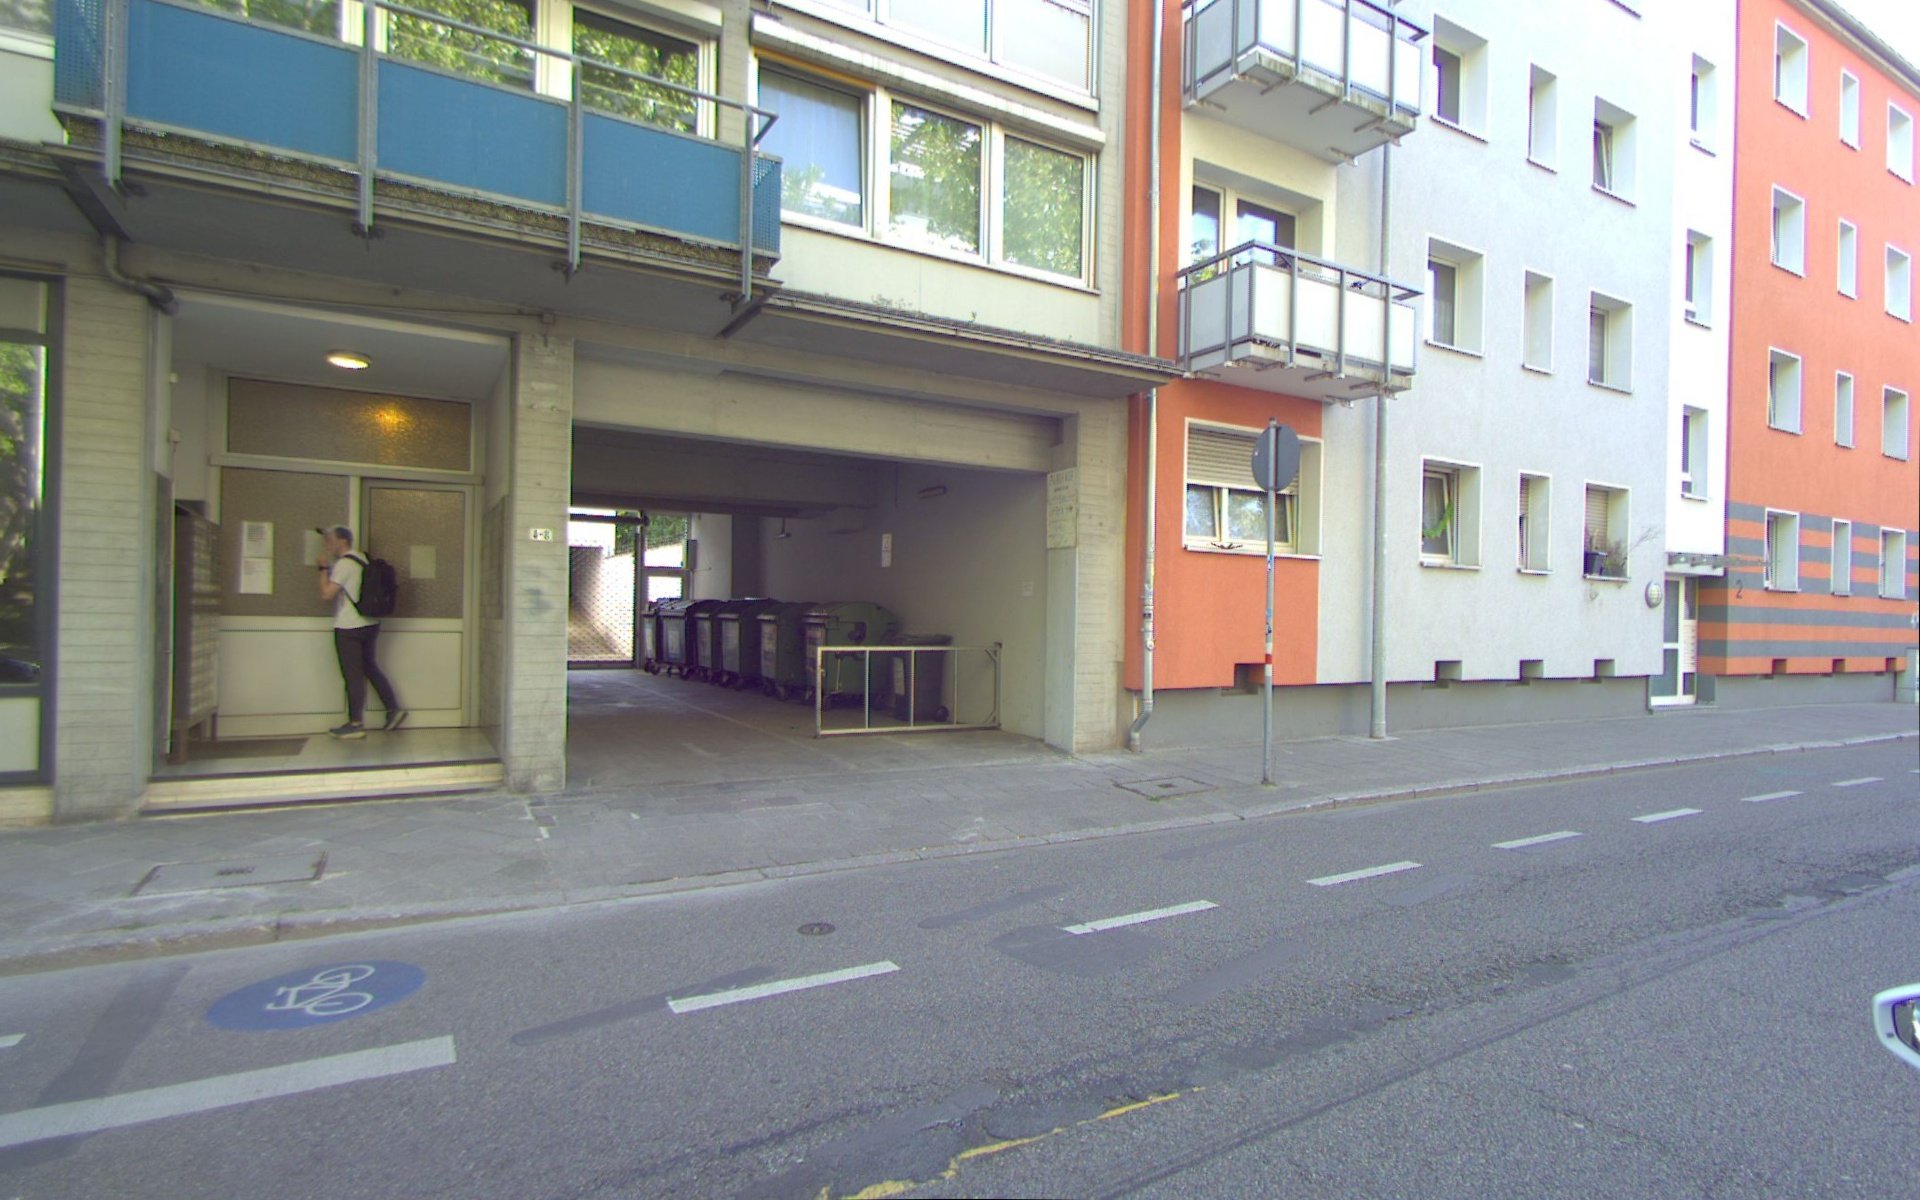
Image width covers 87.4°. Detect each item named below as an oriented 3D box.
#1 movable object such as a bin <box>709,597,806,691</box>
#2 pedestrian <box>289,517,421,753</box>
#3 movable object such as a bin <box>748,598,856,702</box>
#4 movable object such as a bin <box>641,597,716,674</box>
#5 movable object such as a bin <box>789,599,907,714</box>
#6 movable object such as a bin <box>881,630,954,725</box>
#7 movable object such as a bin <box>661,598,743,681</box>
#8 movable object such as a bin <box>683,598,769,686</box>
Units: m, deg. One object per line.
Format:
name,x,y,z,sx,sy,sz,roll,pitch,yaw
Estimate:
movable object such as a bin,-3.360,0.702,16.623,1.186,1.467,1.319,2,0,-30
pedestrian,-5.172,0.288,8.597,0.573,1.904,0.783,2,0,40
movable object such as a bin,-2.393,0.724,15.139,1.186,1.467,1.319,2,0,-30
movable object such as a bin,-5.606,0.689,19.986,1.186,1.467,1.027,2,0,-30
movable object such as a bin,-1.553,0.743,13.805,1.159,1.467,1.319,2,0,-30
movable object such as a bin,-0.526,0.943,12.414,0.745,1.116,0.463,2,0,-30
movable object such as a bin,-4.830,0.725,18.757,1.186,1.467,1.222,2,0,-30
movable object such as a bin,-4.131,0.723,17.714,1.186,1.467,1.114,2,0,-30
